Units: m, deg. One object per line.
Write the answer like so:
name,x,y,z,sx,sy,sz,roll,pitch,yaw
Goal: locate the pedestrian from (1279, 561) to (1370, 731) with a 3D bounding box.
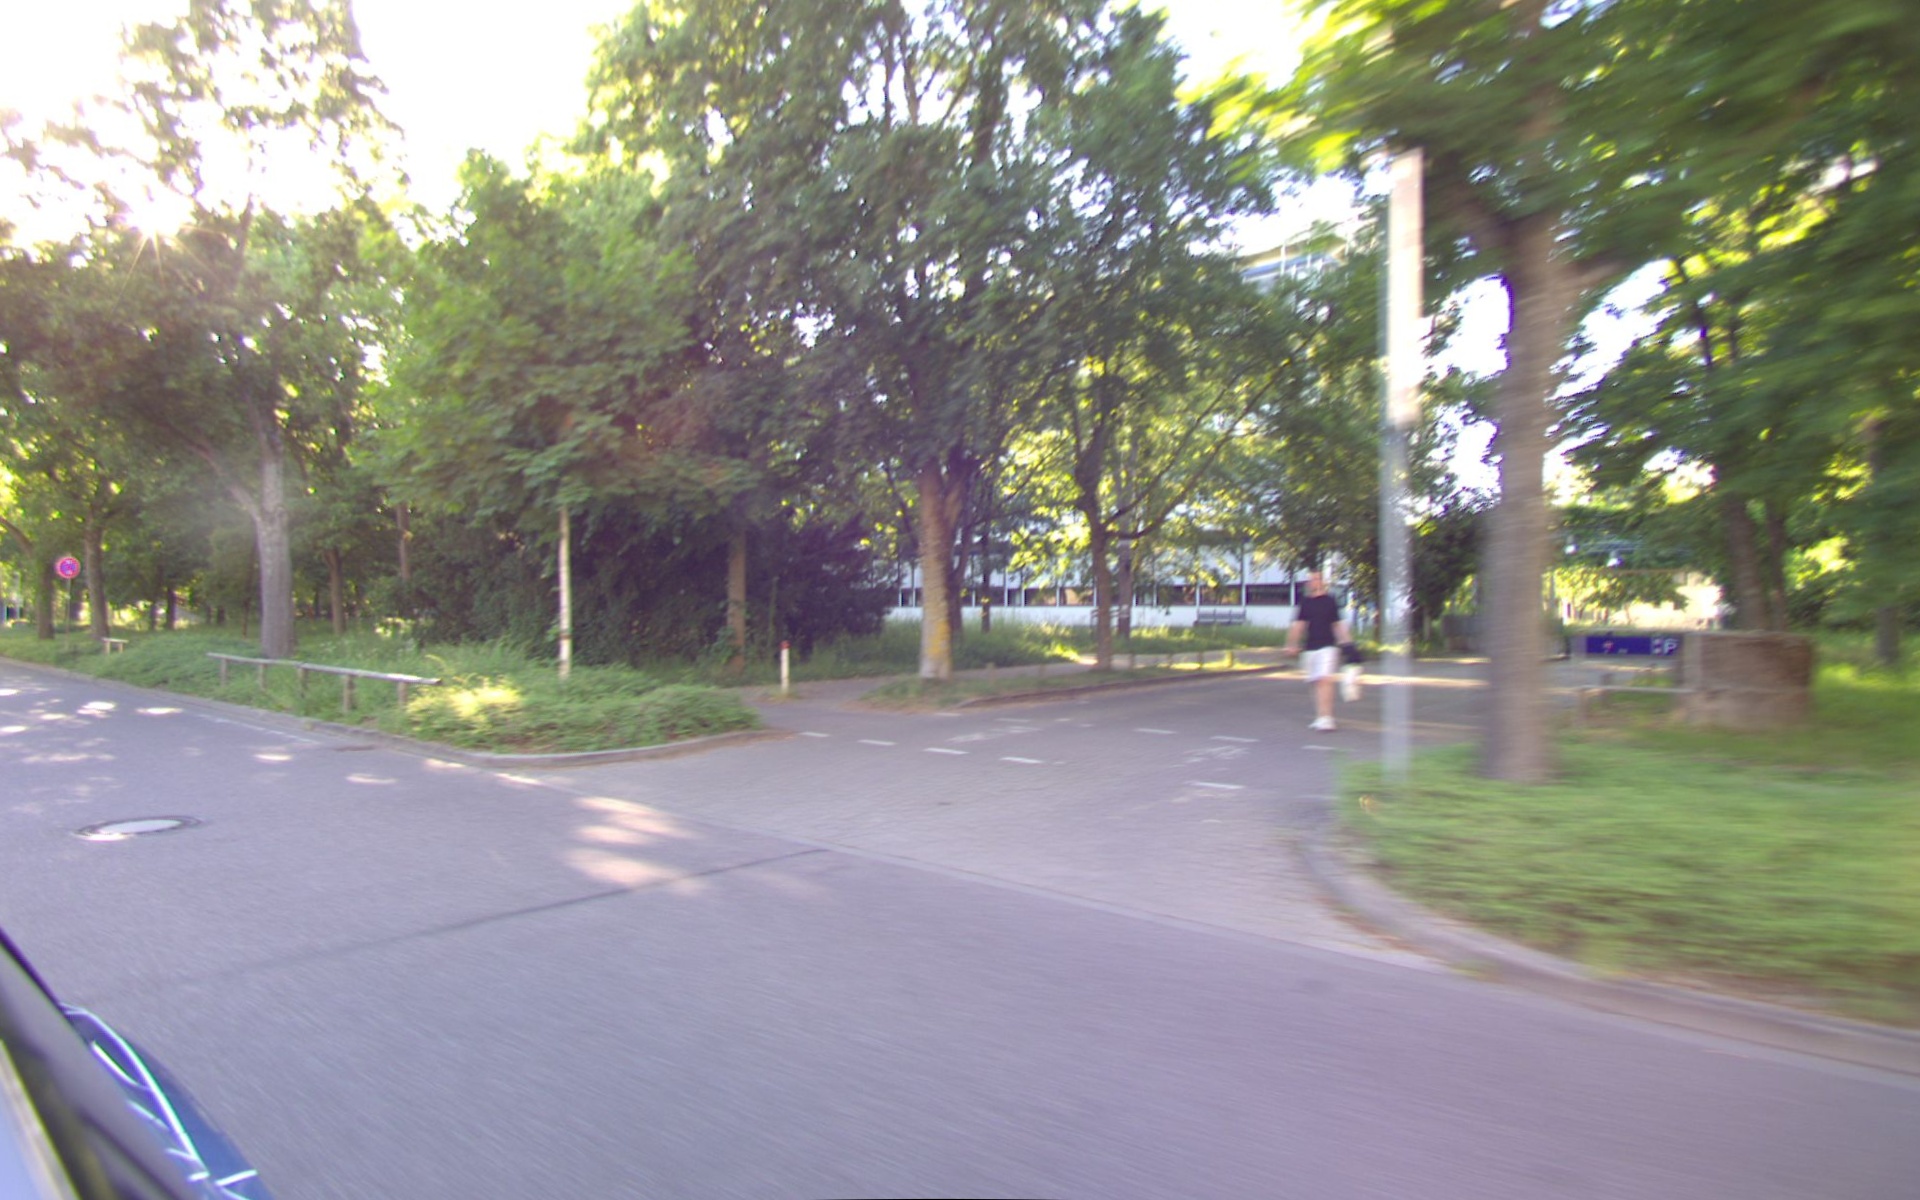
pedestrian,4.136,0.499,11.468,0.719,1.835,0.894,-1,-1,38
